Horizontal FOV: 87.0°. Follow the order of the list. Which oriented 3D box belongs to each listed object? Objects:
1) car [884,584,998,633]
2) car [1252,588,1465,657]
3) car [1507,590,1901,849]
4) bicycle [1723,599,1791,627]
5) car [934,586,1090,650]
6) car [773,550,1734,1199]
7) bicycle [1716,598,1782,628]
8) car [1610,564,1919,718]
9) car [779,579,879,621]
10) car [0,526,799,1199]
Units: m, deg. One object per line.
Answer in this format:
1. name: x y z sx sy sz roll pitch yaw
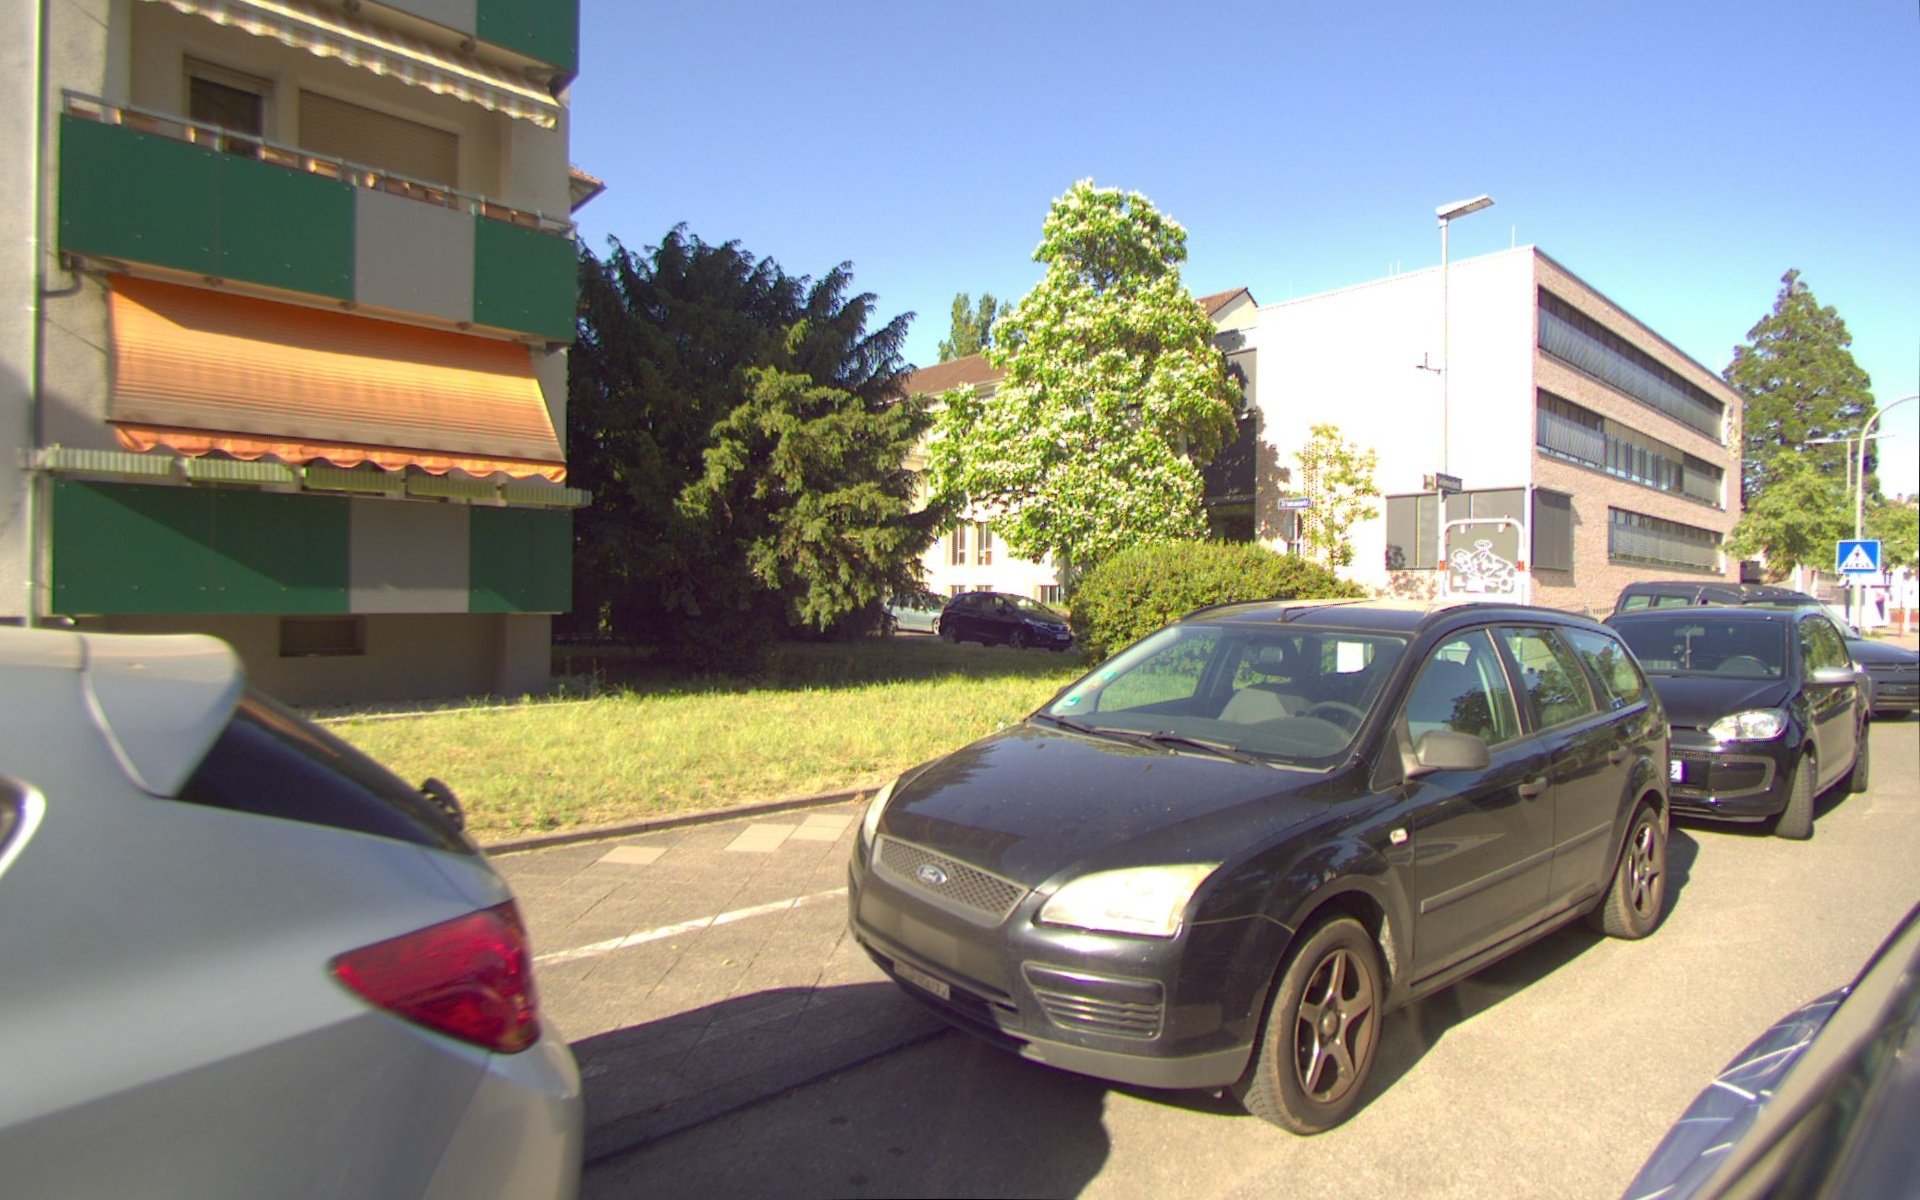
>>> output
1. car: -0.724 0.260 36.568 1.869 1.498 4.156 -5 4 -41
2. car: 9.687 0.471 24.874 1.875 1.493 4.551 -1 1 -43
3. car: 5.788 0.698 7.711 3.727 1.493 1.661 0 -1 -42
4. bicycle: 33.886 0.537 43.046 0.845 1.077 2.084 0 3 -40
5. car: 1.287 0.417 26.432 1.792 1.530 3.975 0 1 -42
6. car: 1.618 0.655 4.313 4.477 1.549 1.773 0 1 -40
7. bicycle: 32.915 0.527 42.234 0.867 1.076 2.029 0 4 -42
8. car: 11.417 0.469 14.070 1.866 1.812 4.160 0 0 -4
9. car: -5.490 -0.031 41.982 1.965 1.648 4.554 0 1 -41
10. car: -2.467 0.696 0.685 1.874 1.553 4.420 1 1 45
